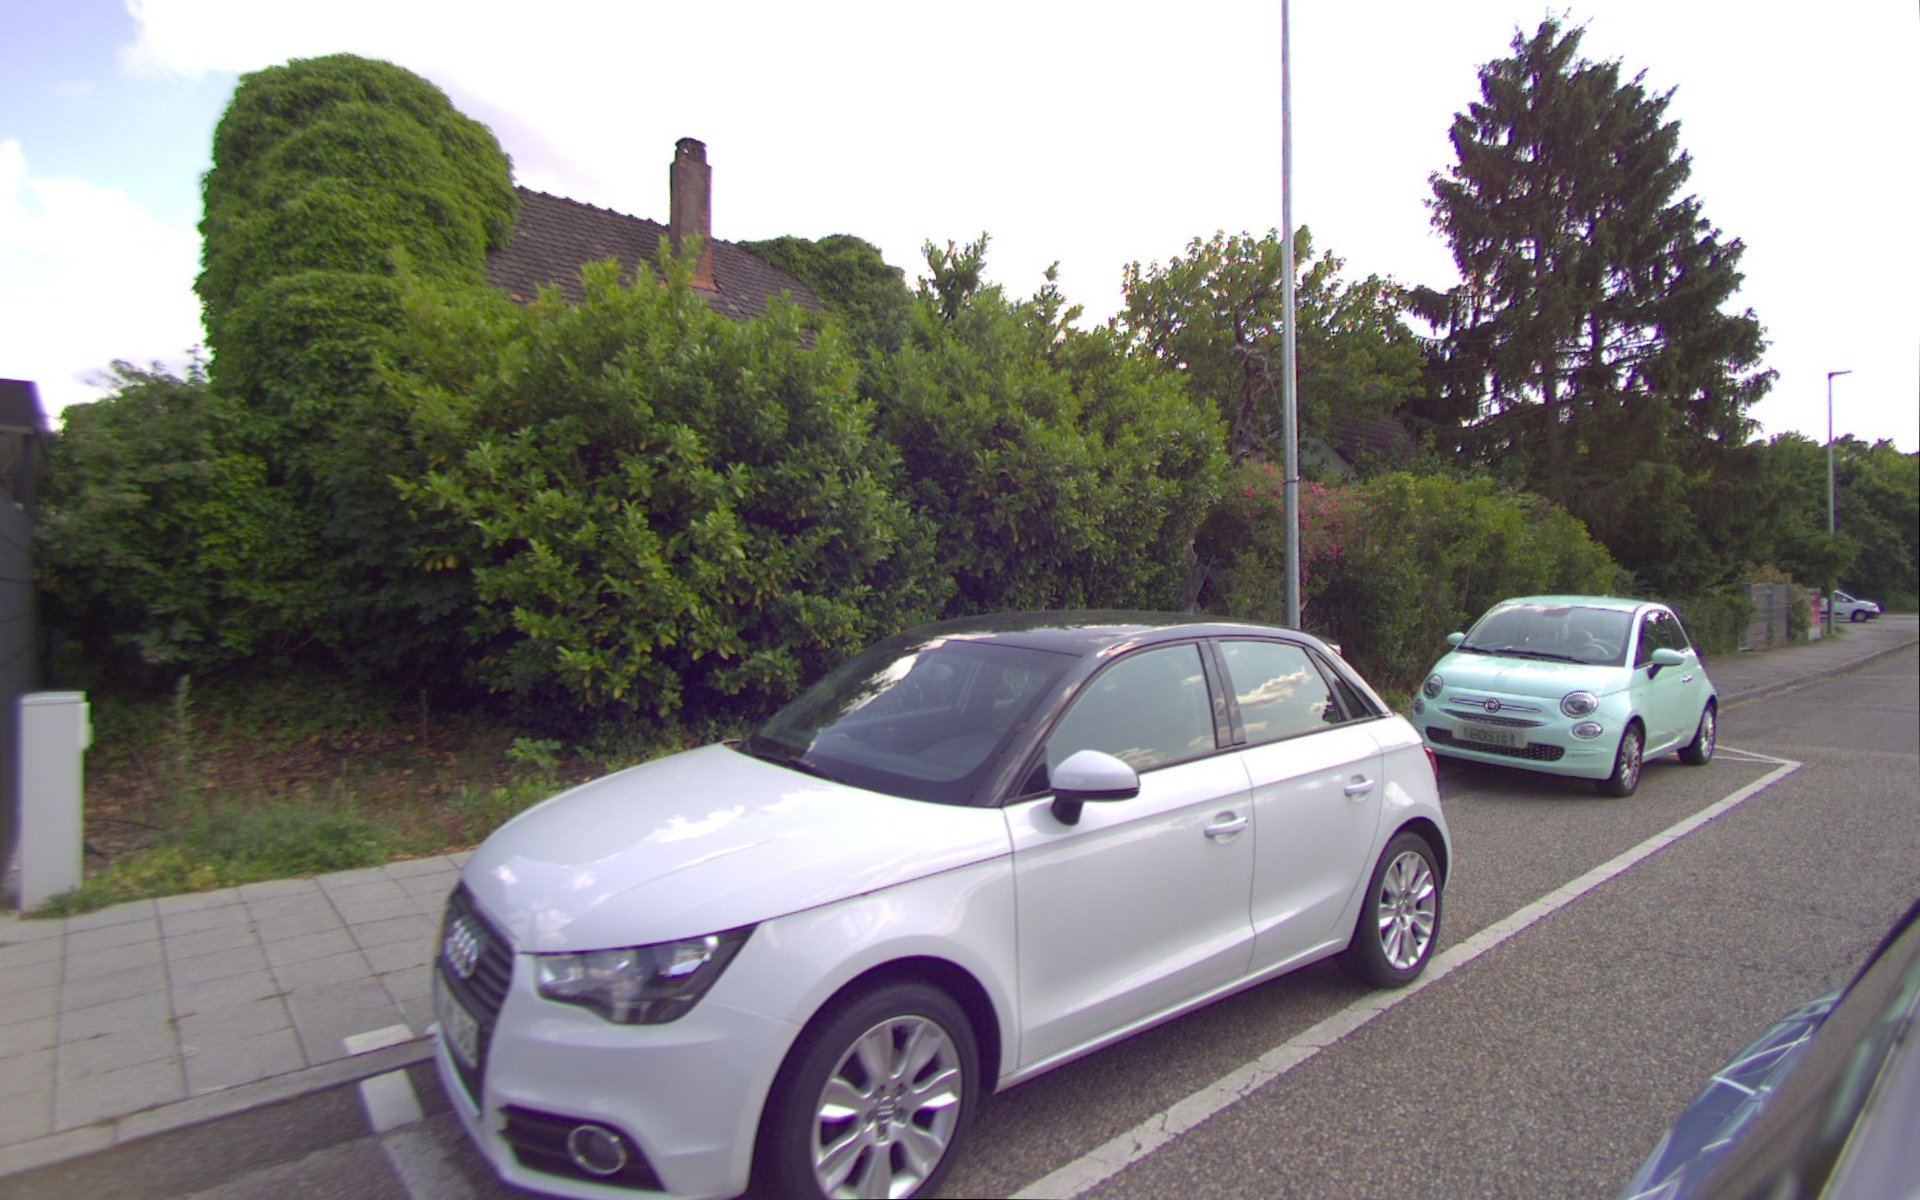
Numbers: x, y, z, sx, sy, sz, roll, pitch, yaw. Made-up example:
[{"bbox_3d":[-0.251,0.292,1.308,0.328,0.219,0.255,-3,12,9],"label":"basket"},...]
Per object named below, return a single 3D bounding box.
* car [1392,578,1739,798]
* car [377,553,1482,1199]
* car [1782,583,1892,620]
[{"bbox_3d":[5.450,0.602,8.930,3.690,1.539,1.584,0,0,-41],"label":"car"},{"bbox_3d":[0.136,0.652,3.635,3.680,1.505,1.725,0,0,-38],"label":"car"},{"bbox_3d":[48.626,0.102,56.256,4.511,1.977,1.705,0,0,38],"label":"car"}]
